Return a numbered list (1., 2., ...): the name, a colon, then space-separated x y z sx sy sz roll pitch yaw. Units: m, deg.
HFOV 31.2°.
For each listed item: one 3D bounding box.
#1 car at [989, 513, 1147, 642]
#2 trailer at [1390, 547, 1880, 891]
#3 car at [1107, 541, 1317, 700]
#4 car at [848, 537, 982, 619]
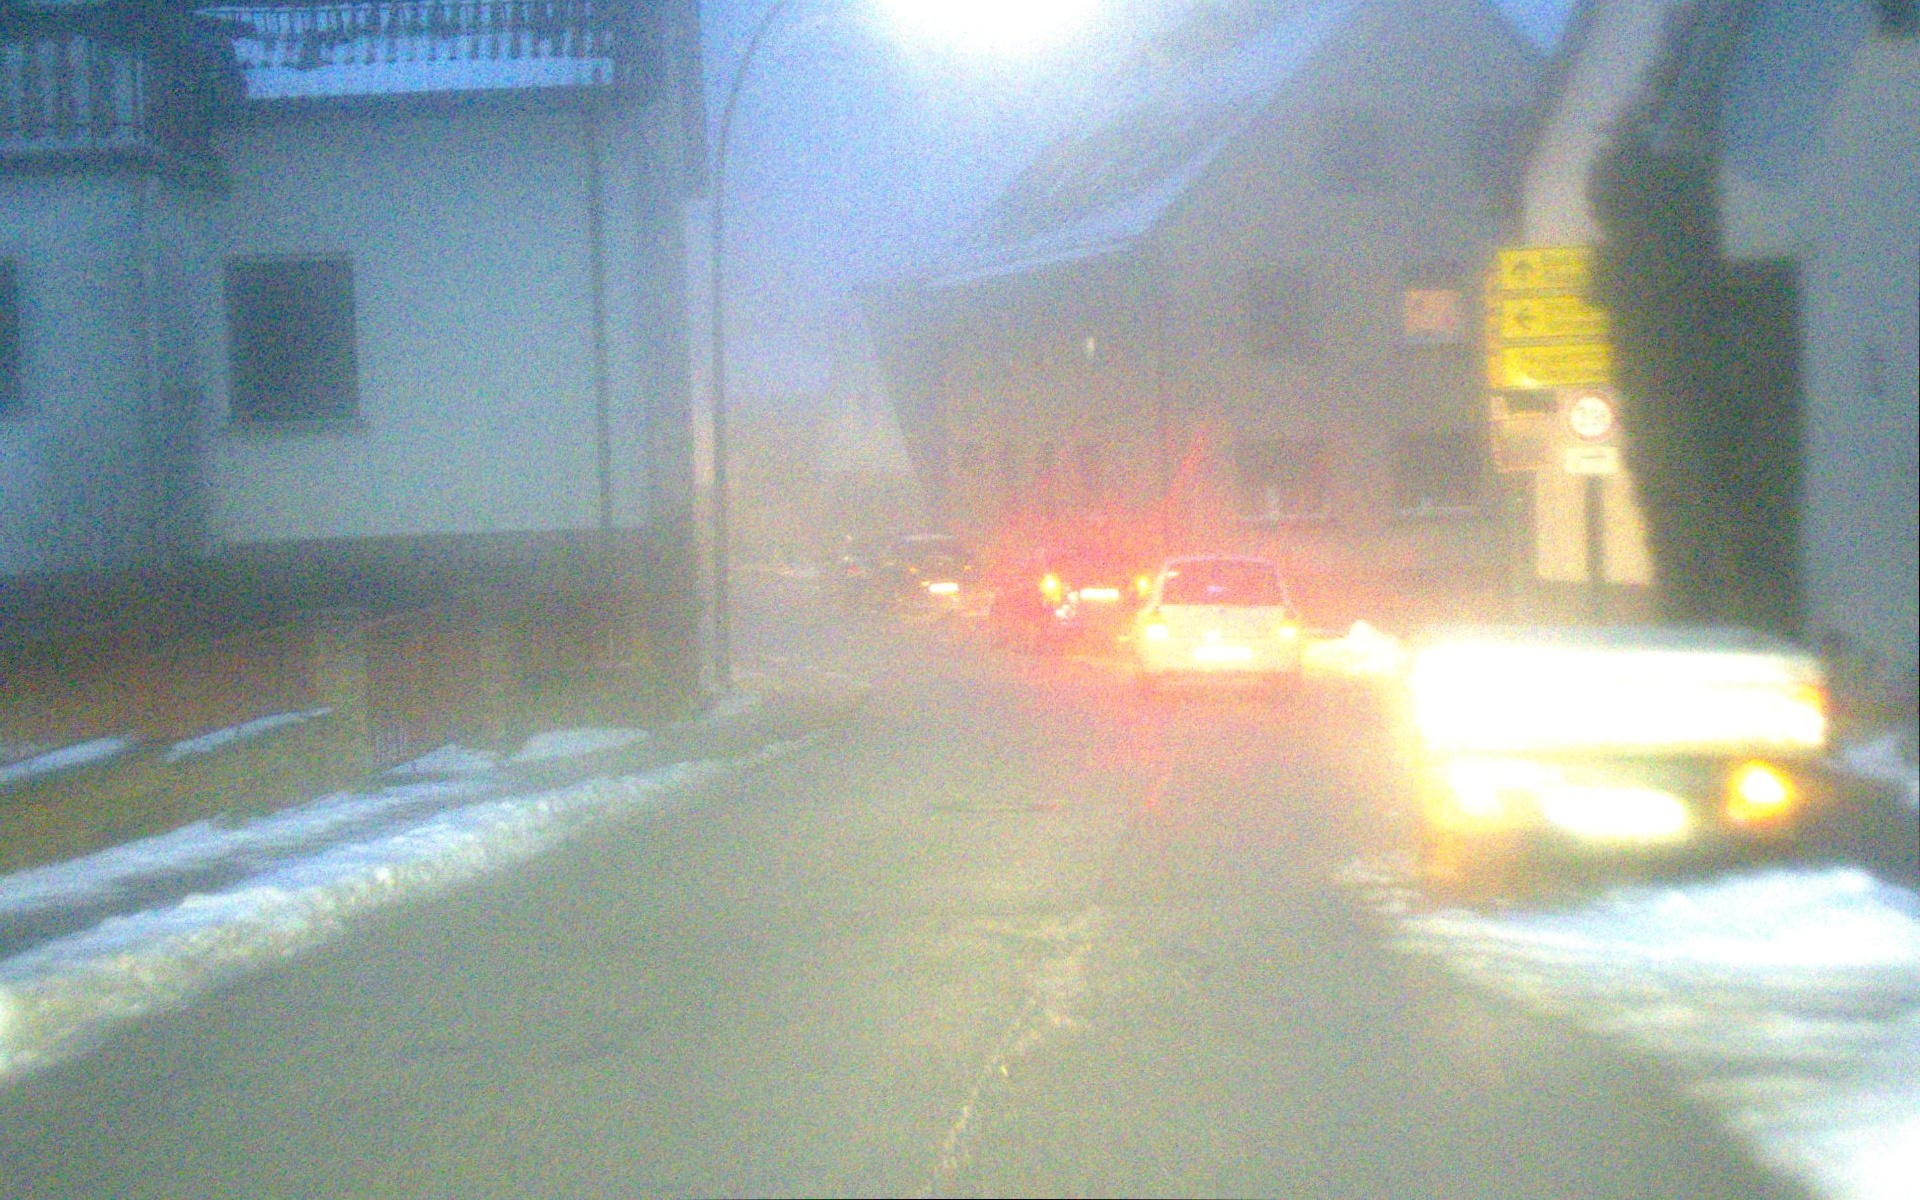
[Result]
1. car: 1.469 -0.305 48.260 1.993 1.722 4.000 0 0 -1
2. trailer: 3.214 0.451 16.643 1.994 1.383 4.729 0 1 10
3. car: 2.522 0.195 34.810 1.994 1.503 3.999 0 0 4
4. car: -0.915 -0.455 67.234 1.910 1.476 4.283 -2 1 -10
